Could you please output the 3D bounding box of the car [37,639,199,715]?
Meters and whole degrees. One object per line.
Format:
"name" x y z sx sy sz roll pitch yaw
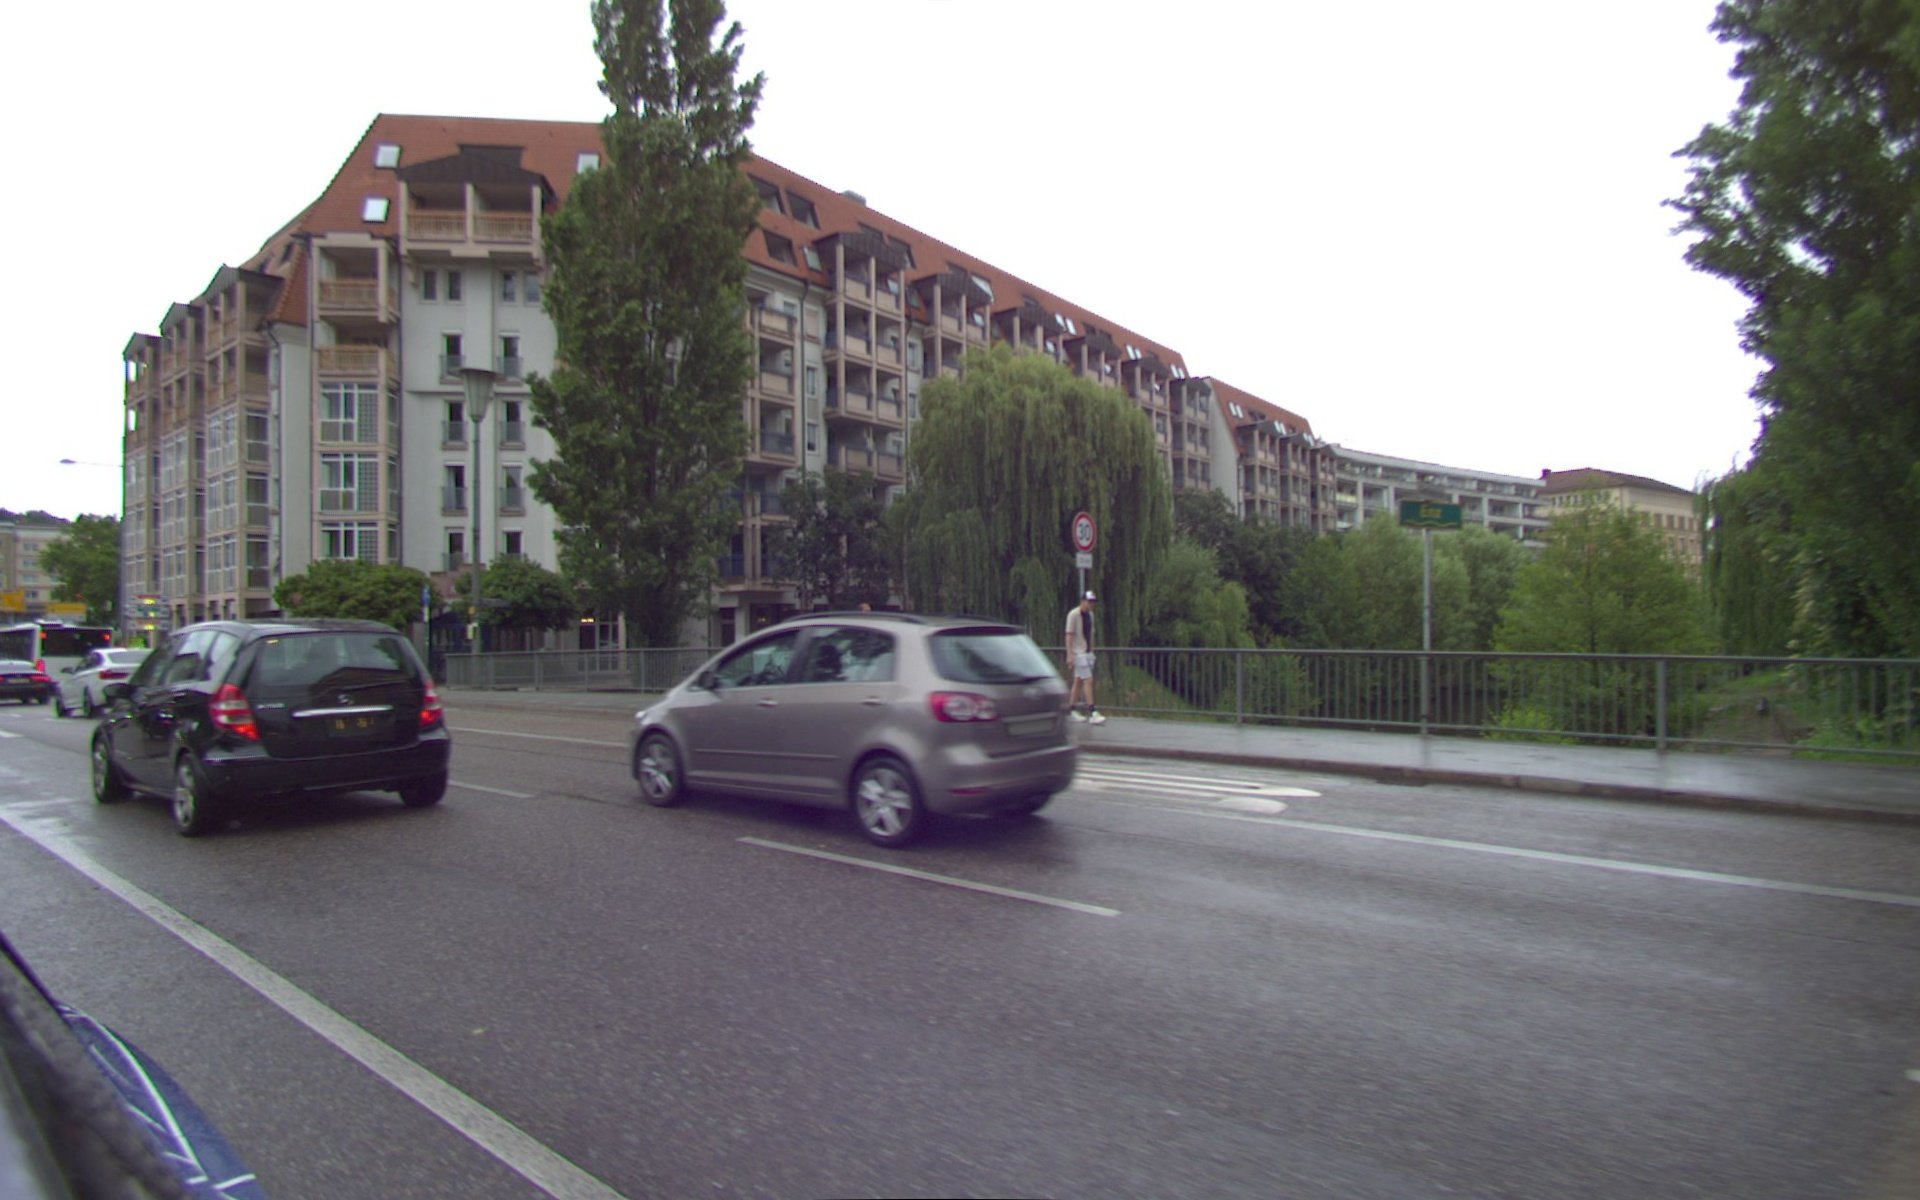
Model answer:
"car" -19.067 1.736 22.840 4.813 1.521 1.818 -4 -4 38

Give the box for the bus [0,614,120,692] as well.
"bus" -40.714 2.530 44.960 12.221 3.099 2.717 -4 -6 39

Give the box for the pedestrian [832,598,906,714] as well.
"pedestrian" -1.469 0.893 16.387 0.958 1.807 0.691 -2 -1 40

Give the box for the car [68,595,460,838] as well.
"car" -6.060 0.870 8.657 3.915 1.614 1.719 -3 -4 39

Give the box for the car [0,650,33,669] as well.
"car" -82.738 5.163 87.122 3.931 1.420 1.777 -1 0 -23

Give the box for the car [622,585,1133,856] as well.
"car" -0.793 0.812 7.959 3.915 1.614 1.719 -3 -4 39

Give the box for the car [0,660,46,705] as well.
"car" -31.001 2.627 32.485 4.401 1.335 1.774 -2 -2 39

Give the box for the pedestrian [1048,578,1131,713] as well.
"pedestrian" 1.804 0.618 14.098 0.812 1.807 0.788 -2 -1 41
